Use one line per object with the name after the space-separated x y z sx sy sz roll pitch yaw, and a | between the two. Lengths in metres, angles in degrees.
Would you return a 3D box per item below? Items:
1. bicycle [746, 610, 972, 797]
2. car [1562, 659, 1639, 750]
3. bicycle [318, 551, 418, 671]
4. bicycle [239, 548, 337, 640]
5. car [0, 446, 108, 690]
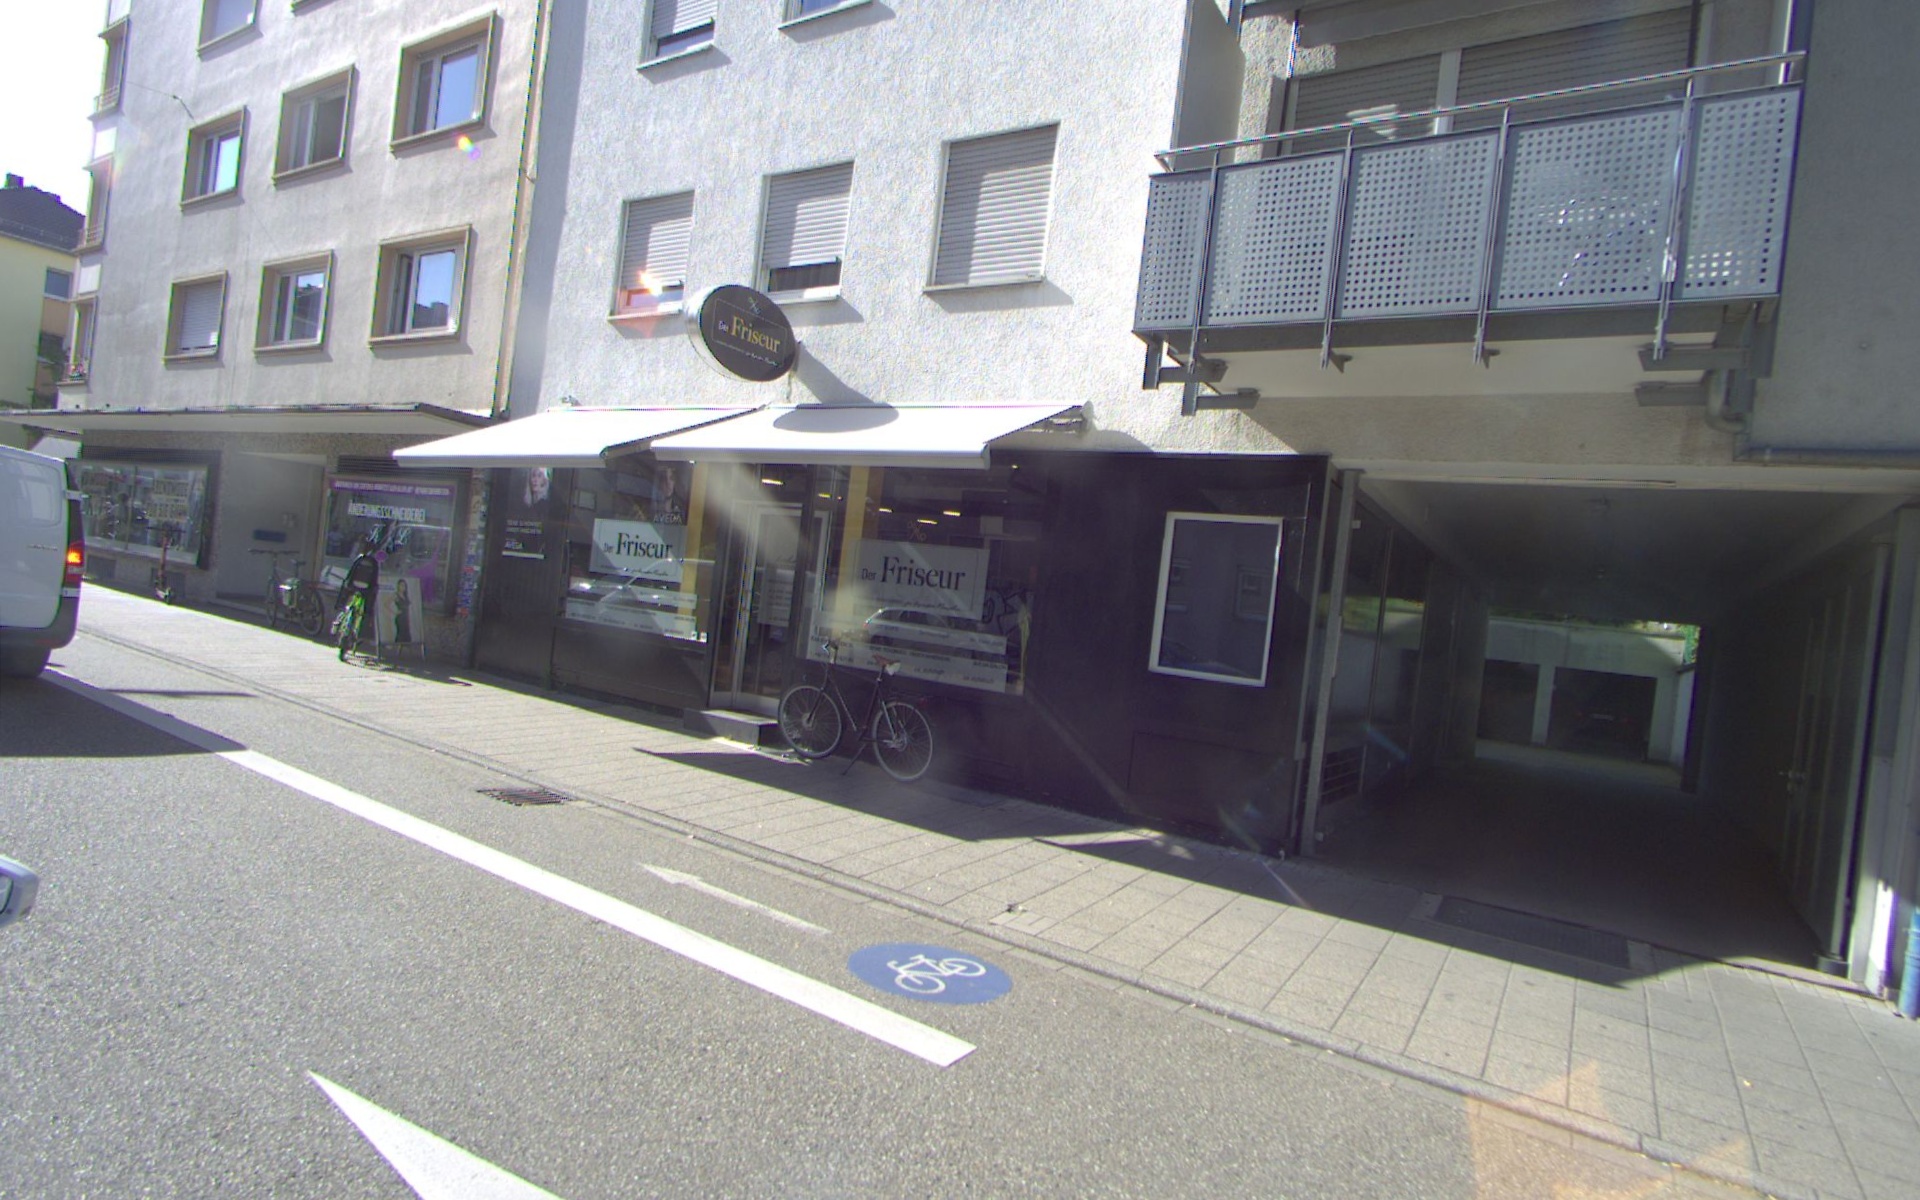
-0.891 0.835 8.585 1.852 1.285 0.548 7 0 33 | bicycle
17.862 2.830 28.186 1.540 1.566 3.977 7 10 30 | car
-7.068 0.119 11.996 1.198 1.291 0.475 7 3 32 | bicycle
-9.466 -0.096 14.162 1.509 1.133 0.523 7 2 33 | bicycle
-9.399 -0.490 8.506 4.472 1.844 1.987 7 -1 32 | car
